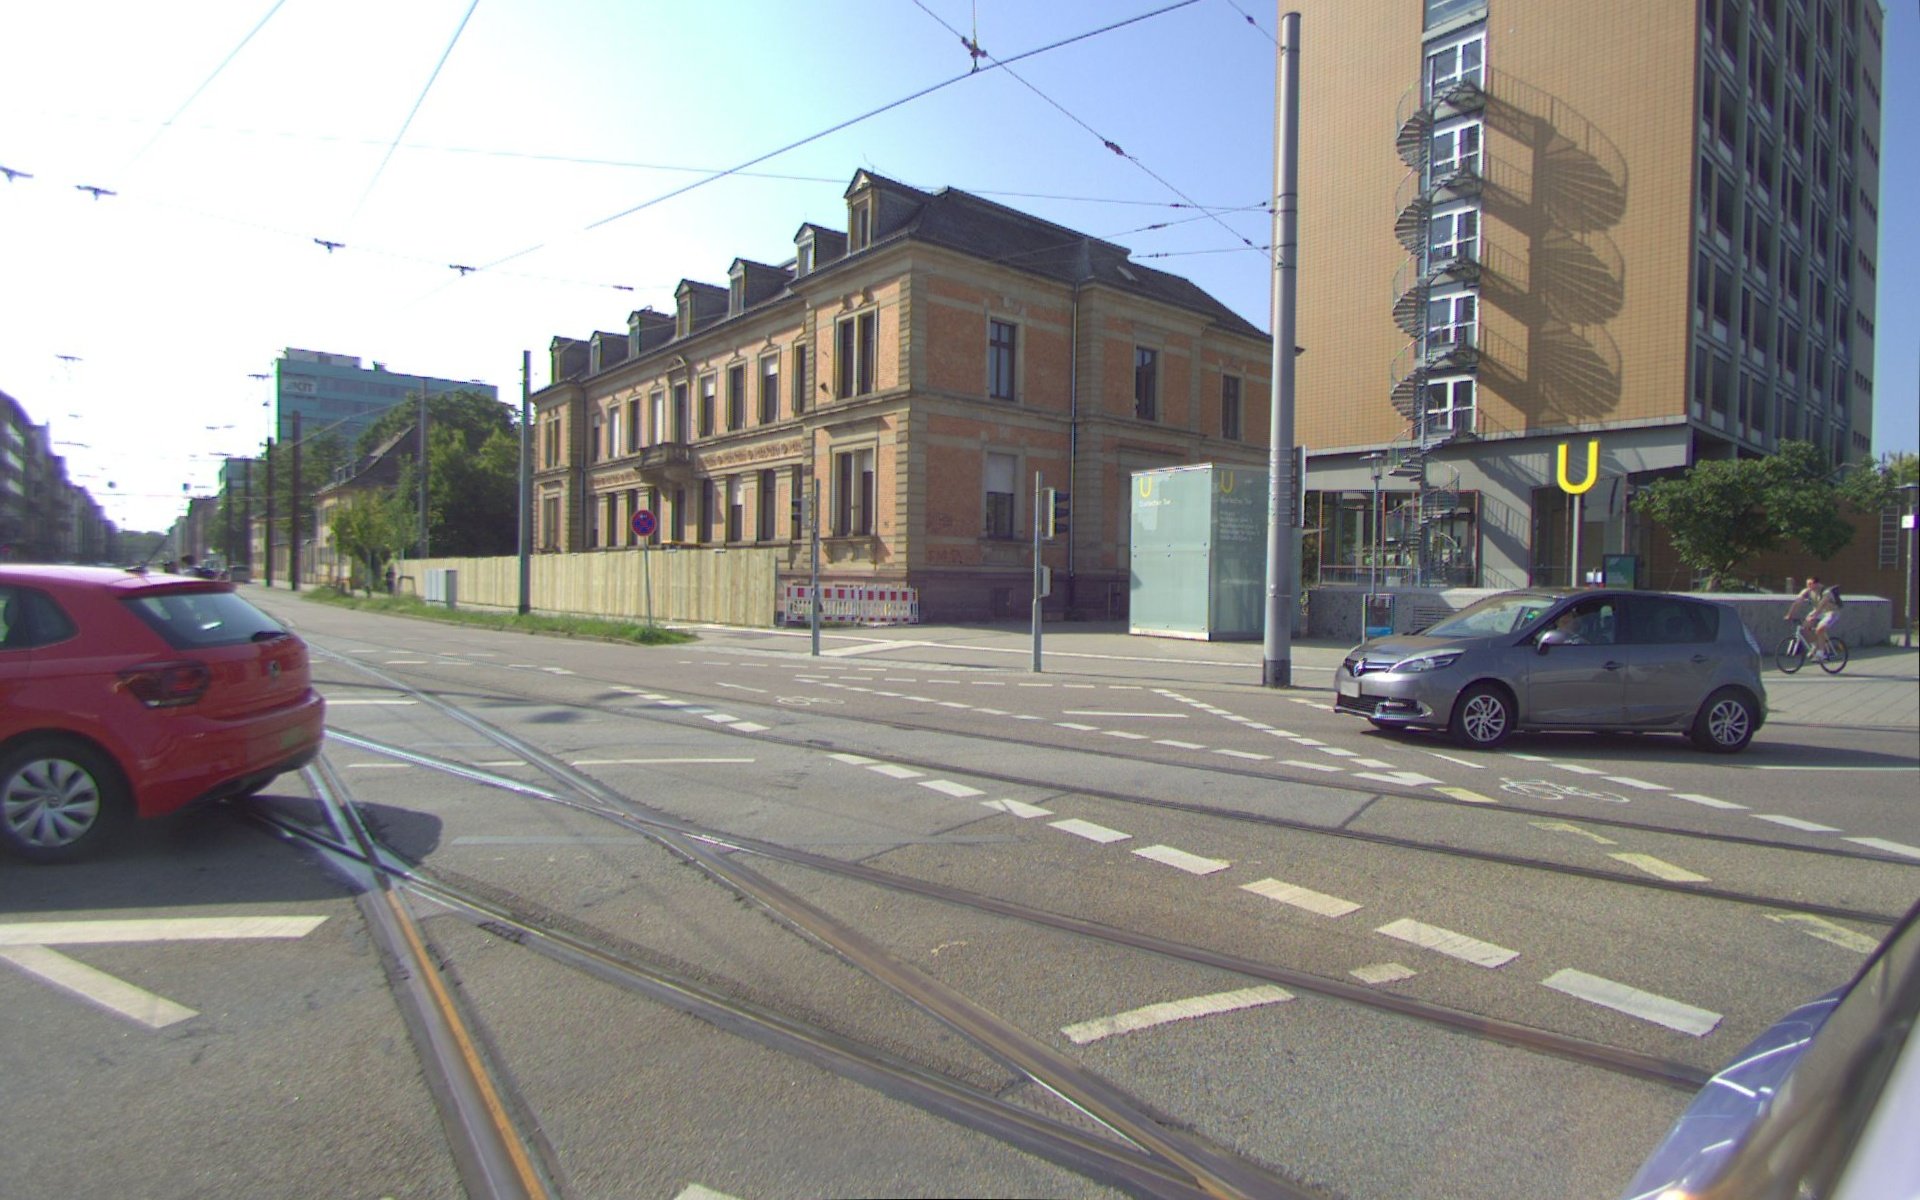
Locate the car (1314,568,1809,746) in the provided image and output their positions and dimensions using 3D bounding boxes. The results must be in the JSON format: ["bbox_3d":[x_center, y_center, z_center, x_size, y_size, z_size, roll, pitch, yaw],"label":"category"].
[{"bbox_3d":[6.182,0.563,10.670,4.203,1.645,1.817,1,0,-6],"label":"car"}]

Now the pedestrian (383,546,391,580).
[{"bbox_3d":[-26.615,-1.711,46.994,0.232,1.549,0.326,1,1,-39],"label":"pedestrian"}]

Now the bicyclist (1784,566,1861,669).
[{"bbox_3d":[16.169,0.313,18.992,0.697,1.885,0.782,1,1,1],"label":"bicyclist"}]

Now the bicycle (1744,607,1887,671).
[{"bbox_3d":[16.015,0.713,18.974,2.146,1.109,0.529,1,1,2],"label":"bicycle"}]

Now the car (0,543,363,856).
[{"bbox_3d":[-5.551,0.432,5.400,3.702,1.466,1.680,1,1,-10],"label":"car"}]

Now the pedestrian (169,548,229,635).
[{"bbox_3d":[-15.349,-0.173,20.429,0.777,1.708,0.663,1,1,-18],"label":"pedestrian"}]
